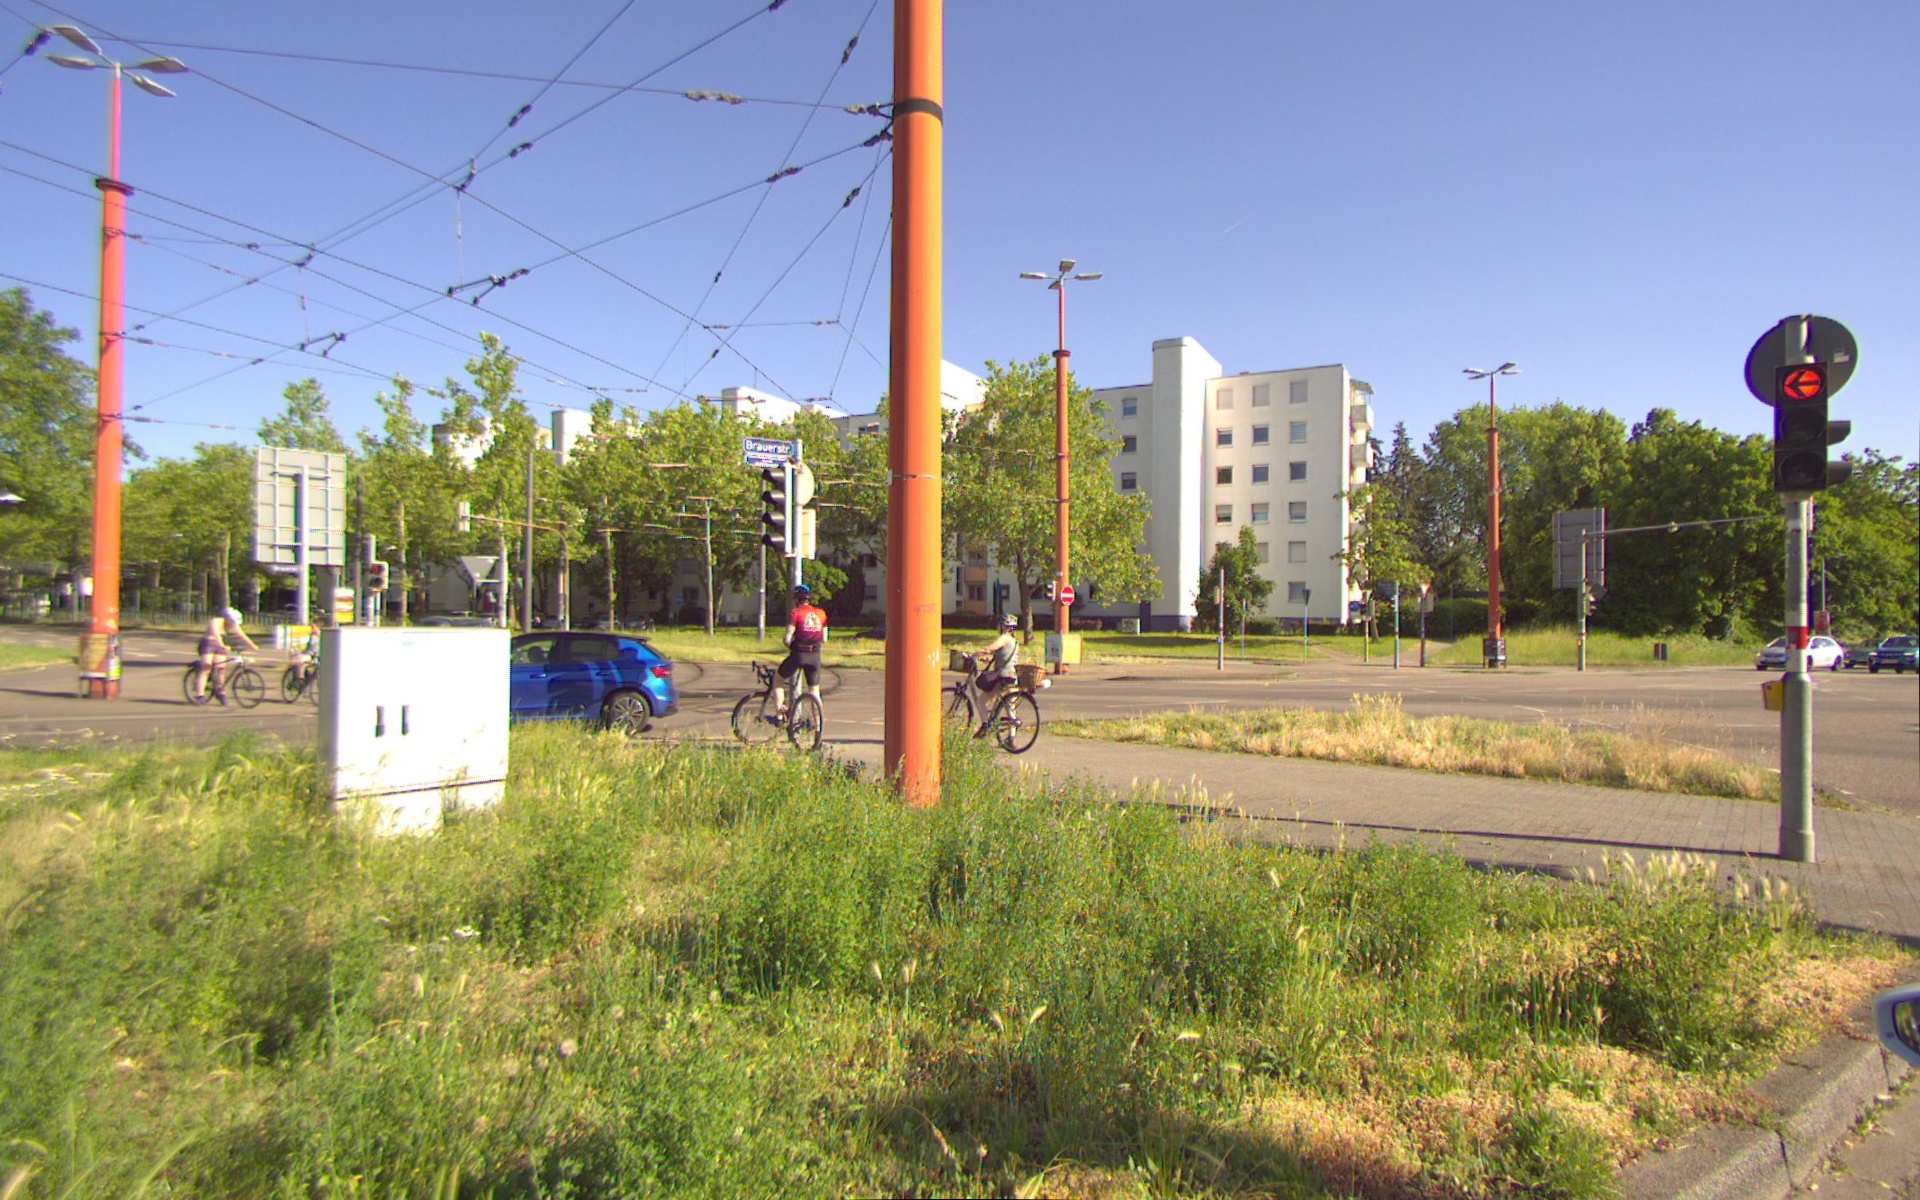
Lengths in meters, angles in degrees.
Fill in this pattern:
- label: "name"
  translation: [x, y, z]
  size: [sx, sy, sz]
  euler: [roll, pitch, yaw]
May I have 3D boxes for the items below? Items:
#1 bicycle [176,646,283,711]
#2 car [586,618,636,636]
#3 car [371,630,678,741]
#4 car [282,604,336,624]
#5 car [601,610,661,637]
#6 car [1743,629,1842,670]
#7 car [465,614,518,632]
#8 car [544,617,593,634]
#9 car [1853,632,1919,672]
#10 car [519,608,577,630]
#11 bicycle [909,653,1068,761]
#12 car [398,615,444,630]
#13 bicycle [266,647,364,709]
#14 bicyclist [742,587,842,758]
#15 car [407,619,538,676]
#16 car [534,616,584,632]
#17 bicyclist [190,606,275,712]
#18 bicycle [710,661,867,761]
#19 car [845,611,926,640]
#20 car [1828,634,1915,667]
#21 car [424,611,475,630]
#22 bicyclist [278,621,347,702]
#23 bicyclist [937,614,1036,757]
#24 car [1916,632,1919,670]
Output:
- label: "bicycle"
  translation: [-13.634, 1.438, 18.736]
  size: [1.877, 1.086, 0.580]
  euler: [2, 0, 17]
- label: "car"
  translation: [-25.822, 1.995, 74.316]
  size: [3.279, 1.149, 1.321]
  euler: [2, 0, -11]
- label: "car"
  translation: [-6.072, 1.172, 14.459]
  size: [3.846, 1.439, 1.573]
  euler: [1, -1, -17]
- label: "car"
  translation: [-66.291, 1.464, 102.362]
  size: [4.274, 2.010, 1.932]
  euler: [1, -1, -19]
- label: "car"
  translation: [-23.658, 1.702, 72.299]
  size: [3.874, 1.841, 1.651]
  euler: [2, 0, -13]
- label: "car"
  translation: [35.375, 2.113, 42.686]
  size: [4.168, 1.673, 1.869]
  euler: [2, -3, -29]
- label: "car"
  translation: [-38.831, 1.918, 83.392]
  size: [3.665, 1.349, 1.496]
  euler: [2, 0, -8]
- label: "car"
  translation: [-29.320, 1.889, 75.343]
  size: [3.219, 1.172, 1.357]
  euler: [2, 0, -12]
- label: "car"
  translation: [37.305, 2.042, 39.765]
  size: [3.813, 1.535, 1.793]
  euler: [1, -3, -30]
- label: "car"
  translation: [-32.539, 1.506, 79.436]
  size: [3.868, 1.614, 1.656]
  euler: [2, 0, -8]
- label: "bicycle"
  translation: [0.323, 1.252, 12.188]
  size: [1.887, 1.146, 0.737]
  euler: [0, -1, 41]
- label: "car"
  translation: [-46.617, 1.925, 86.958]
  size: [3.370, 1.204, 1.439]
  euler: [2, 0, -23]
- label: "bicycle"
  translation: [-12.850, 1.535, 20.000]
  size: [1.878, 1.086, 0.580]
  euler: [2, 0, 19]
- label: "bicyclist"
  translation: [-2.002, 0.842, 11.965]
  size: [0.974, 1.938, 0.685]
  euler: [-1, -2, 33]
- label: "car"
  translation: [-15.089, 1.427, 31.047]
  size: [3.977, 1.516, 1.913]
  euler: [2, 0, 34]
- label: "car"
  translation: [-30.887, 1.857, 77.440]
  size: [3.346, 1.162, 1.305]
  euler: [2, 0, -13]
- label: "bicyclist"
  translation: [-13.590, 1.082, 18.778]
  size: [0.905, 1.892, 0.893]
  euler: [2, 0, 17]
- label: "bicycle"
  translation: [-2.067, 1.284, 12.006]
  size: [1.883, 1.085, 0.690]
  euler: [-2, -2, 33]
- label: "car"
  translation: [-3.933, 1.355, 53.070]
  size: [3.872, 1.522, 1.839]
  euler: [0, -2, 19]
- label: "car"
  translation: [43.145, 2.377, 47.531]
  size: [3.952, 1.533, 1.877]
  euler: [1, -2, -29]
- label: "car"
  translation: [-43.250, 1.762, 85.104]
  size: [3.592, 1.480, 1.608]
  euler: [2, 0, -19]
- label: "bicyclist"
  translation: [-12.888, 1.202, 20.007]
  size: [0.906, 1.545, 0.720]
  euler: [2, 0, 20]
- label: "bicyclist"
  translation: [0.322, 1.002, 12.229]
  size: [0.815, 1.643, 0.888]
  euler: [0, -1, 41]
- label: "car"
  translation: [42.616, 2.172, 42.715]
  size: [3.955, 1.575, 1.891]
  euler: [2, -2, -32]
